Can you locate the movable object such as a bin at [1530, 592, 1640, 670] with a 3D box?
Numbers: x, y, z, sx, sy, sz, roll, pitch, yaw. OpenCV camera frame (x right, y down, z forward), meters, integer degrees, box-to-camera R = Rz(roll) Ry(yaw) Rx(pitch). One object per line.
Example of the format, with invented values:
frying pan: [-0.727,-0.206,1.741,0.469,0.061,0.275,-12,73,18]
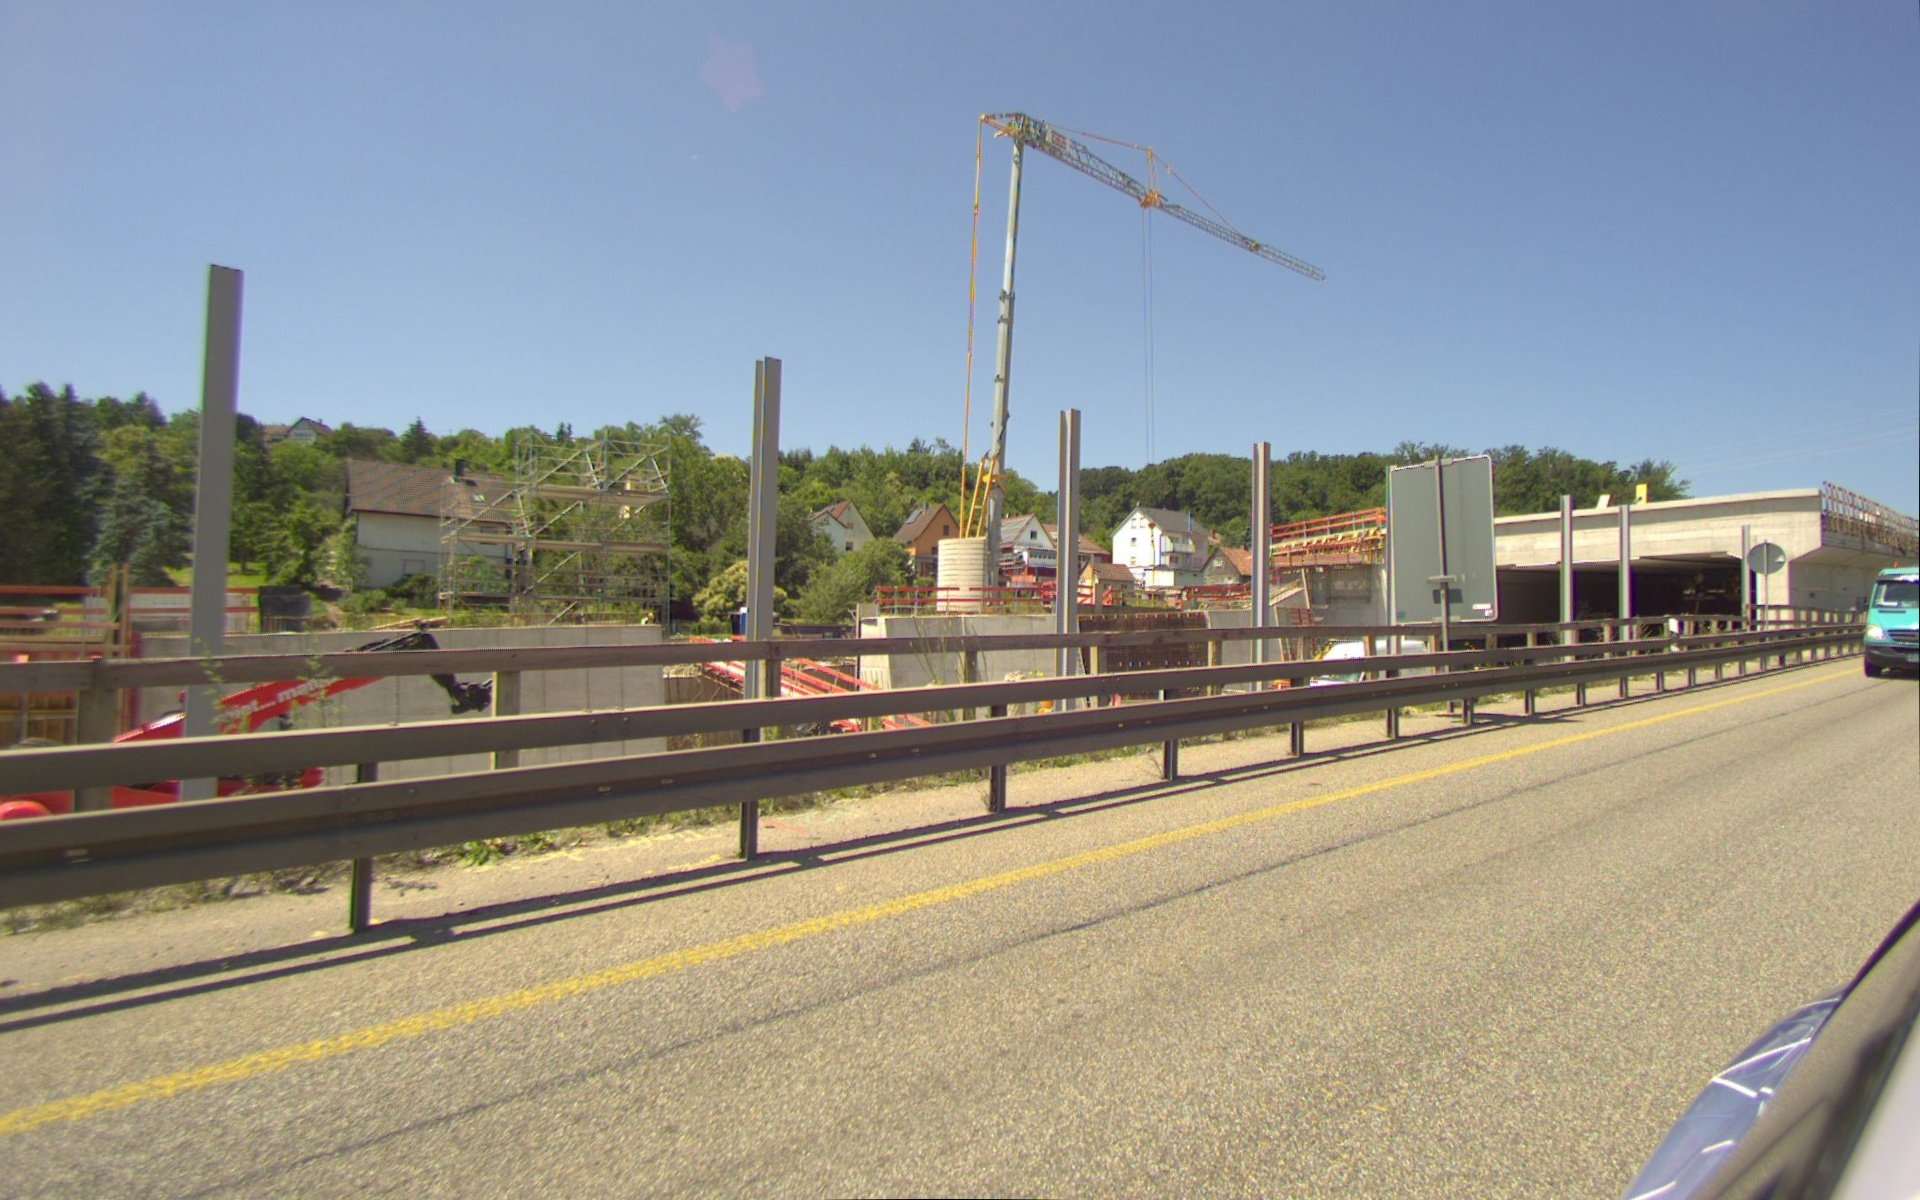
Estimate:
movable object such as a bin: [36.942,1.664,59.654,8.997,4.113,2.958,-2,1,-41]

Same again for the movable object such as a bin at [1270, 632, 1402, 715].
movable object such as a bin: [14.543,2.721,38.989,5.397,2.710,2.151,-1,1,-36]

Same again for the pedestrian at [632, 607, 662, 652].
pedestrian: [-14.324,1.334,46.338,0.954,2.012,1.140,-1,0,-37]

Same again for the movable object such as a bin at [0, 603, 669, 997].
movable object such as a bin: [-10.076,2.564,16.949,9.488,4.802,3.233,-2,1,-41]

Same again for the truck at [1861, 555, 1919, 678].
truck: [21.548,0.239,21.815,7.302,2.387,2.138,-2,1,-40]

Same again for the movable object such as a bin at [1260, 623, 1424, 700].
movable object such as a bin: [18.174,3.080,48.803,3.425,2.941,7.159,-1,-8,-18]

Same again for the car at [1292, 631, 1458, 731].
car: [14.604,2.688,35.368,6.893,2.891,2.151,-1,1,-37]
